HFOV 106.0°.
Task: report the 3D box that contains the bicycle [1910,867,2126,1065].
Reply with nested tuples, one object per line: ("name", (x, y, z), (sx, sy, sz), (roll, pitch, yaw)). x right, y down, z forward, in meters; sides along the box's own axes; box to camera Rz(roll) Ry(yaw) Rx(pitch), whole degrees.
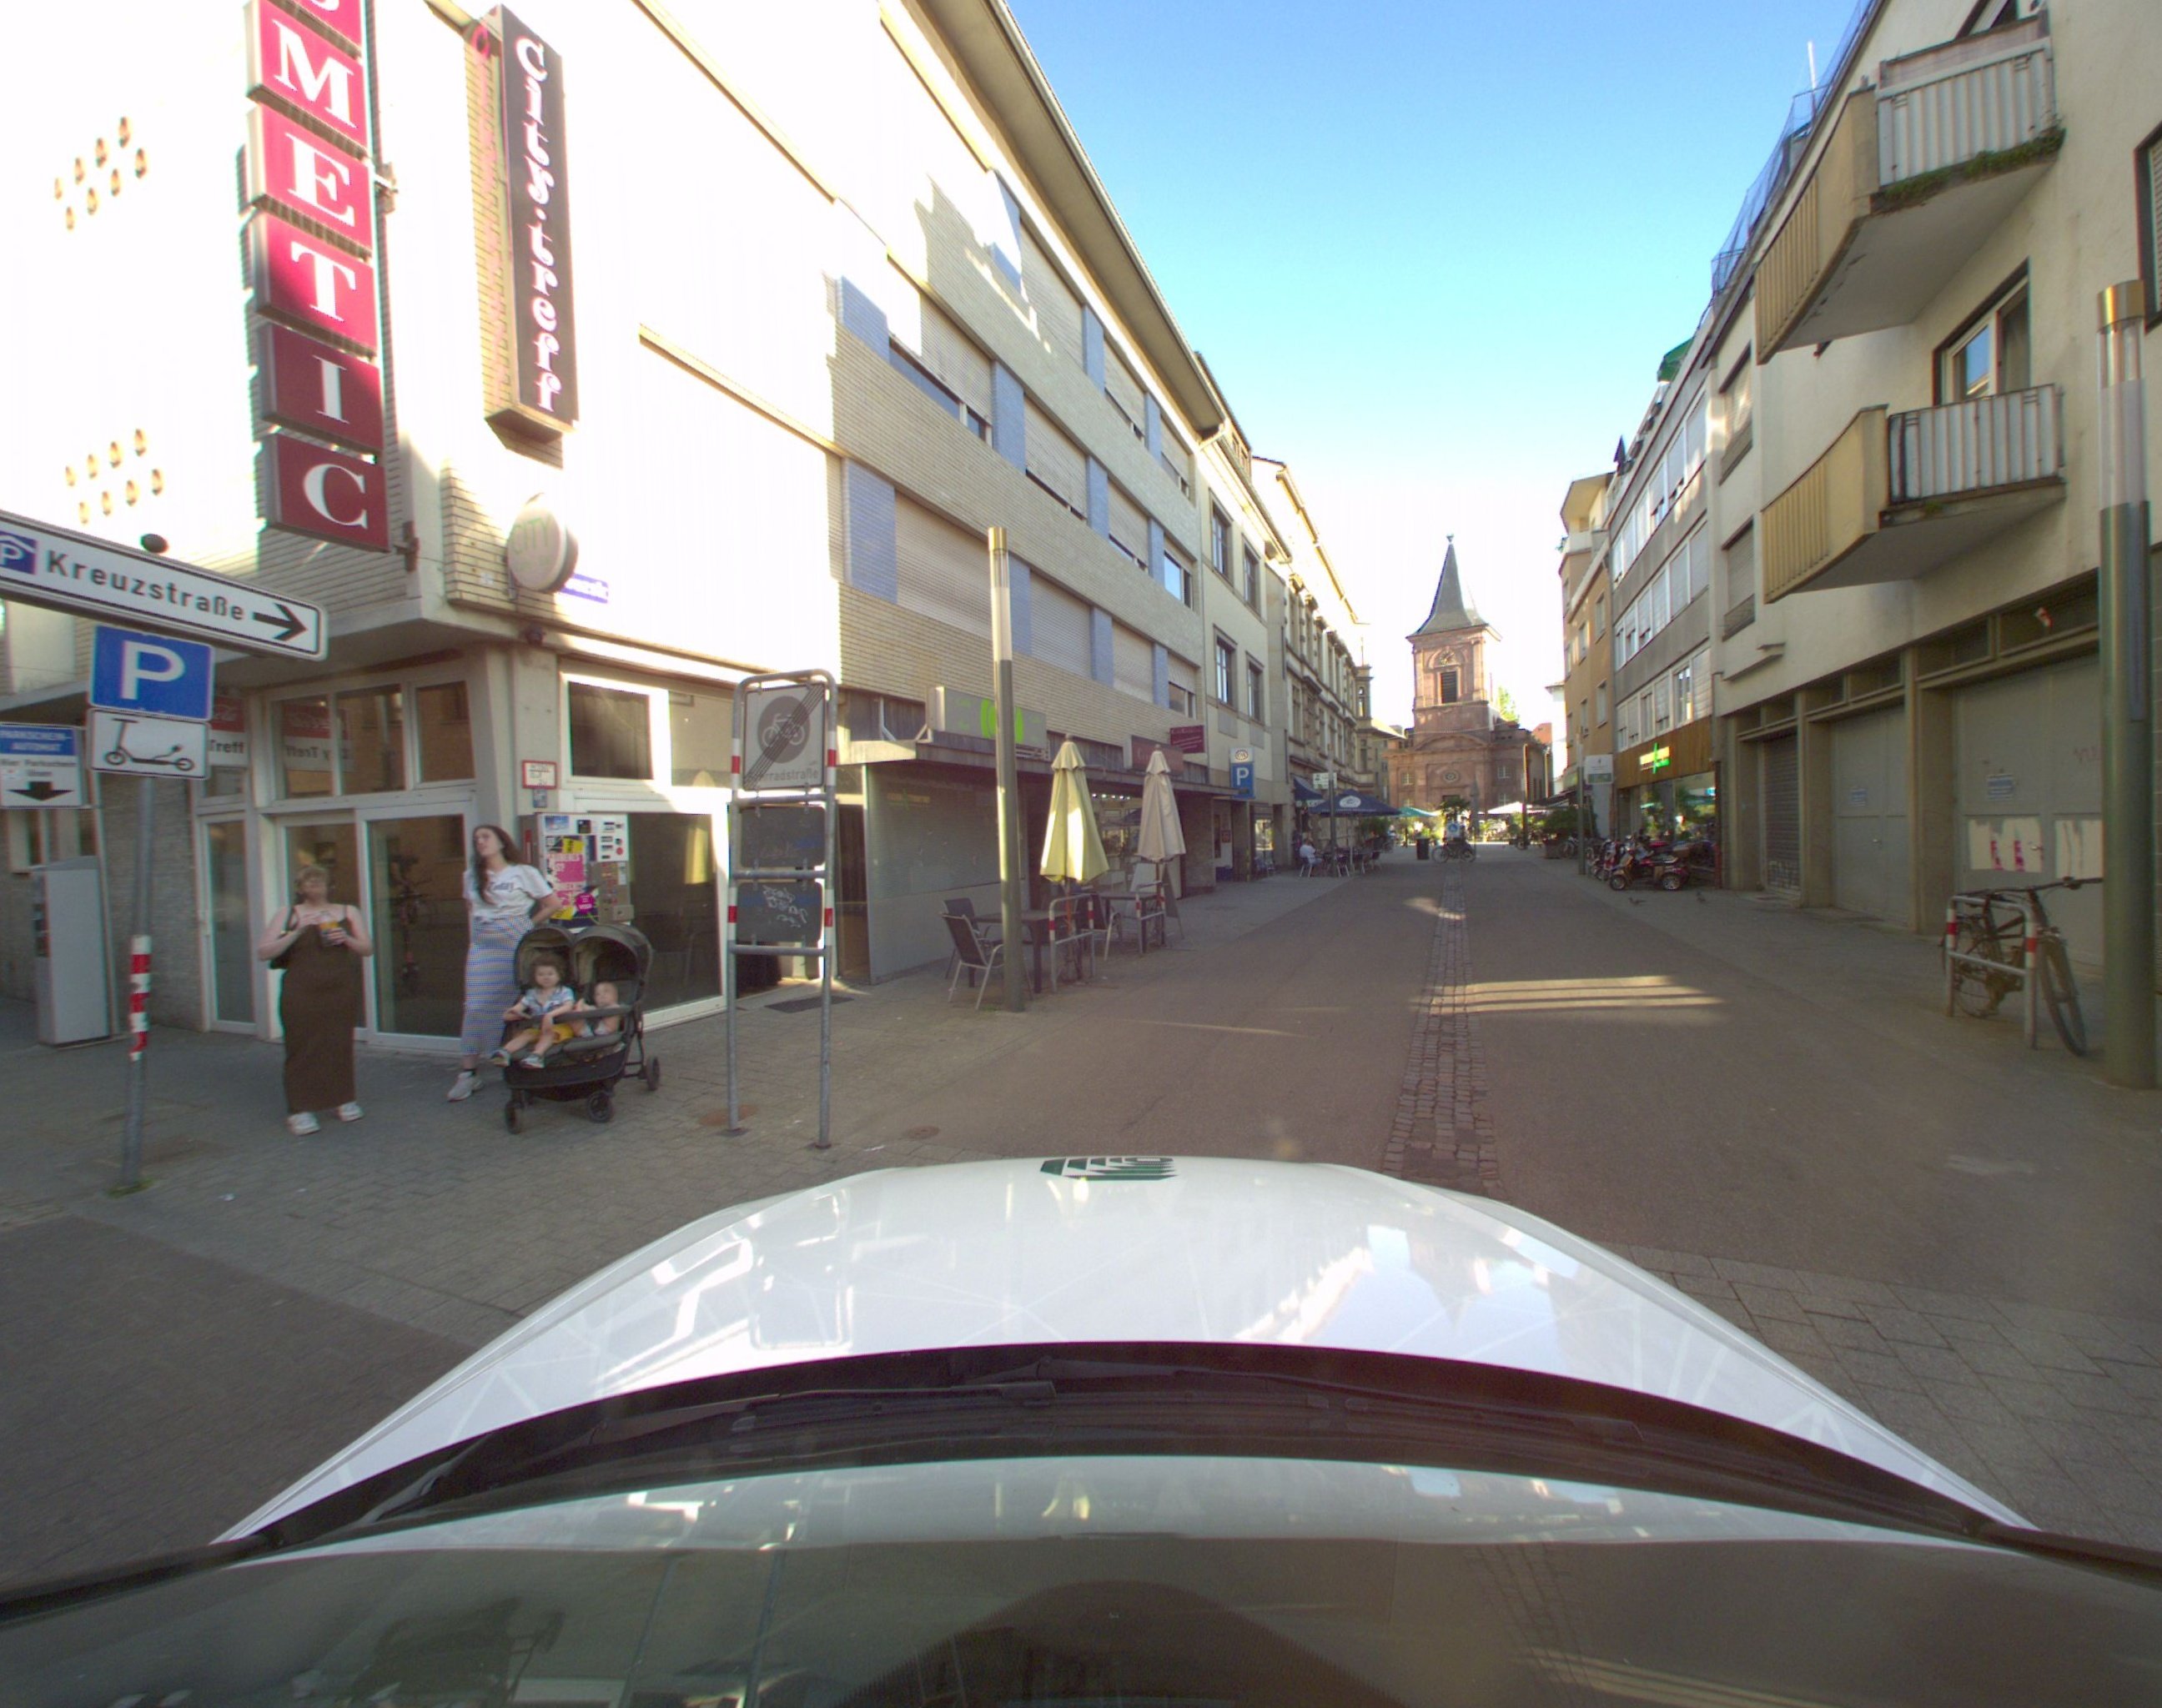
("bicycle", (6.470, 0.685, 5.723), (0.442, 1.139, 1.720), (-1, 0, 30))

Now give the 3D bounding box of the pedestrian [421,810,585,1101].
("pedestrian", (-3.885, 0.634, 5.535), (0.661, 1.819, 0.566), (-5, 3, -24))

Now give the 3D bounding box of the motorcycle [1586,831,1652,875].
("motorcycle", (14.964, -0.016, 22.661), (1.469, 1.181, 0.415), (-2, 1, 40))

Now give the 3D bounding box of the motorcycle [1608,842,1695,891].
("motorcycle", (12.806, 0.284, 18.309), (1.549, 1.041, 0.375), (-2, 1, 43))

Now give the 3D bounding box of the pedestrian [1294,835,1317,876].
("pedestrian", (7.705, 0.054, 27.985), (0.703, 1.368, 0.722), (-2, 1, 13))

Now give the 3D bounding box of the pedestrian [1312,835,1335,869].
("pedestrian", (9.078, -0.090, 30.479), (0.759, 1.233, 0.835), (-2, 1, 17))

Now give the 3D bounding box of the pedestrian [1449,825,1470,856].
("pedestrian", (18.374, -0.647, 39.563), (0.875, 1.464, 0.735), (-1, 1, 25))

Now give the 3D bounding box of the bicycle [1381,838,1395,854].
("bicycle", (18.148, -0.468, 48.115), (0.452, 0.849, 2.160), (-1, 1, 28))

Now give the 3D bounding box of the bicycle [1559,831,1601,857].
("bicycle", (20.327, -0.417, 33.191), (1.449, 1.004, 0.577), (-1, 1, 32))

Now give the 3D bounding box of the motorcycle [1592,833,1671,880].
("motorcycle", (14.149, 0.076, 20.962), (1.609, 1.175, 0.483), (-2, 1, 43))

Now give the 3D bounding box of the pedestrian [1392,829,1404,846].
("pedestrian", (23.875, -1.252, 61.369), (0.694, 1.217, 0.724), (-1, 1, 30))

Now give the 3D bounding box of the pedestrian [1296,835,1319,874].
("pedestrian", (8.111, 0.007, 29.160), (0.712, 1.368, 0.713), (-2, 1, 13))

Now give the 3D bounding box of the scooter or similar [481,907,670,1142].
("scooter or similar", (-3.035, 0.965, 5.005), (0.800, 1.143, 0.946), (-3, 2, -23))

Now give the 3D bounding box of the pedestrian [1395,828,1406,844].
("pedestrian", (24.572, -1.363, 62.630), (0.694, 1.217, 0.724), (-1, 1, 30))

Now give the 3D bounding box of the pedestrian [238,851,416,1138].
("pedestrian", (-4.526, 0.796, 4.904), (0.504, 1.579, 0.537), (-2, 4, 30))

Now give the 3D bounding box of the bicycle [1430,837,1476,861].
("bicycle", (16.373, -0.204, 35.849), (1.808, 1.004, 0.383), (-1, 1, 21))

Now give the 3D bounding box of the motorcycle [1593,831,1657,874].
("motorcycle", (15.571, -0.024, 23.335), (1.469, 1.181, 0.415), (-2, 1, 40))

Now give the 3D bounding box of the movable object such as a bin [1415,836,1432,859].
("movable object such as a bin", (16.451, -0.321, 39.072), (0.715, 1.074, 0.376), (-2, 1, 23))

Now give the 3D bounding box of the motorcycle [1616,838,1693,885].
("motorcycle", (13.900, 0.190, 19.764), (1.470, 1.075, 0.415), (-2, 1, 43))

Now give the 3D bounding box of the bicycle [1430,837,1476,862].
("bicycle", (16.201, -0.193, 35.491), (1.808, 1.004, 0.383), (-1, 1, 21))

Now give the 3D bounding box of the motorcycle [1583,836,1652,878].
("motorcycle", (14.362, 0.094, 21.840), (1.470, 1.075, 0.415), (-2, 1, 43))

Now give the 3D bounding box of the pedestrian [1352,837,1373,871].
("pedestrian", (10.574, -0.003, 30.609), (0.686, 1.215, 0.586), (-2, 1, 17))

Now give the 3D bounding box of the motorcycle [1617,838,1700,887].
("motorcycle", (13.365, 0.208, 18.875), (1.502, 1.075, 0.415), (-2, 1, 43))
